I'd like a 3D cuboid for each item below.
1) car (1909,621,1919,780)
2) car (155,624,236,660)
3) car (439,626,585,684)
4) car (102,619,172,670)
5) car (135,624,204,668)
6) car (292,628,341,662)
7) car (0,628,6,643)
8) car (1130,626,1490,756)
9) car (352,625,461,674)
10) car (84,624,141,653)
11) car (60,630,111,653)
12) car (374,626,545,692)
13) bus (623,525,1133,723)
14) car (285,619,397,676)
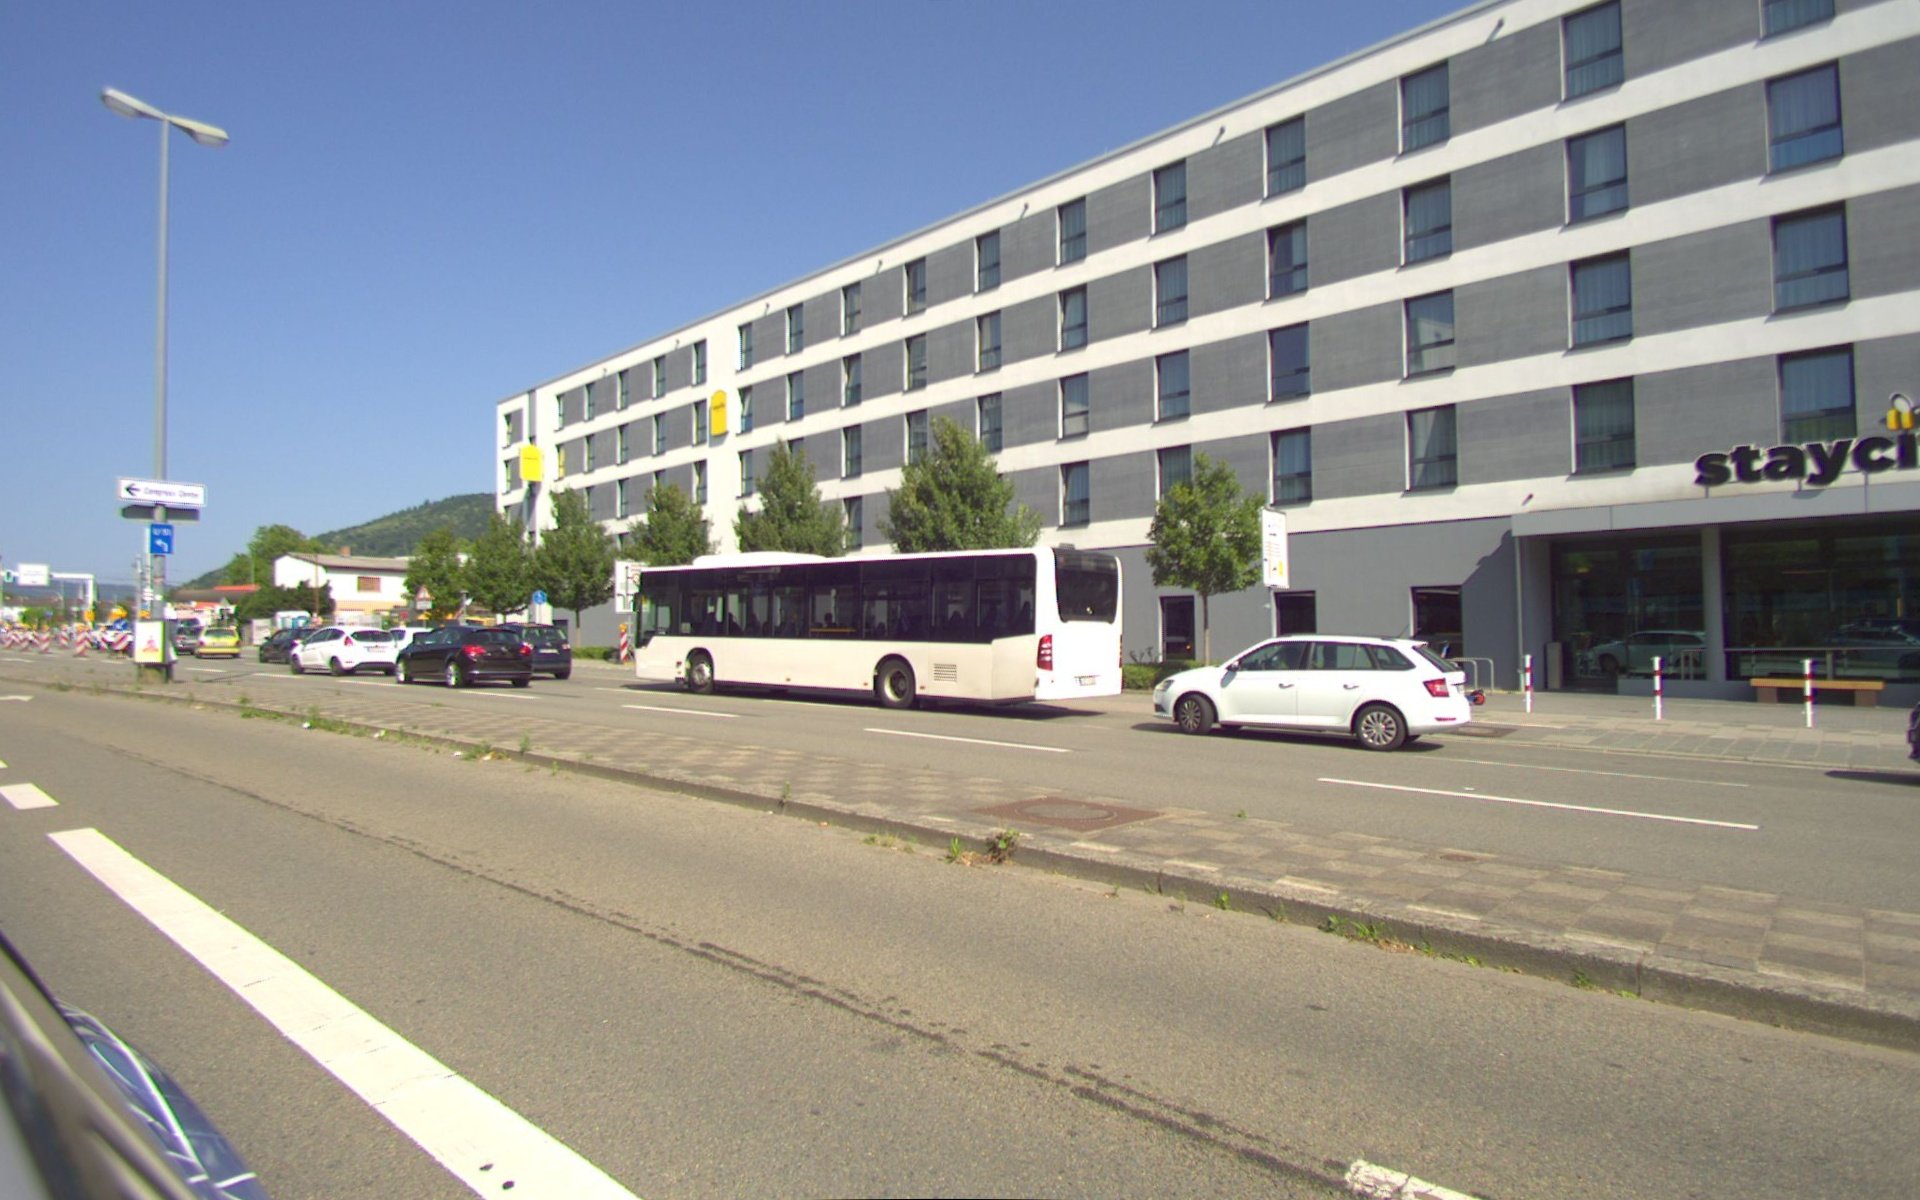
[{"bbox_3d":[11.594,1.024,9.056,4.411,1.590,1.972,-1,-5,41],"label":"car"},{"bbox_3d":[-34.916,1.883,46.182,4.888,1.534,1.973,-1,-2,41],"label":"car"},{"bbox_3d":[-12.957,1.506,29.119,4.888,1.534,1.973,-1,-2,41],"label":"car"},{"bbox_3d":[-35.585,1.884,43.726,4.162,2.029,1.658,0,0,41],"label":"car"},{"bbox_3d":[-39.390,2.237,50.396,3.998,2.029,1.973,0,0,41],"label":"car"},{"bbox_3d":[-24.871,1.705,39.117,2.219,1.216,1.044,0,0,42],"label":"car"},{"bbox_3d":[-89.599,3.259,93.274,3.932,1.346,1.794,-1,-2,37],"label":"car"},{"bbox_3d":[4.829,1.181,14.175,4.403,1.497,1.976,0,-4,36],"label":"car"},{"bbox_3d":[-18.422,1.637,33.630,3.975,1.550,1.834,-2,-4,41],"label":"car"},{"bbox_3d":[-53.345,2.400,63.671,4.888,1.725,1.973,-1,-2,41],"label":"car"},{"bbox_3d":[-60.861,2.877,70.388,3.995,1.550,1.974,-1,-1,38],"label":"car"},{"bbox_3d":[-12.284,1.364,24.683,4.887,1.443,1.973,-1,-2,40],"label":"car"},{"bbox_3d":[-2.370,0.519,20.766,11.966,3.102,2.710,-1,-4,40],"label":"bus"},{"bbox_3d":[-18.129,1.334,29.565,3.999,1.462,1.740,0,0,42],"label":"car"}]
